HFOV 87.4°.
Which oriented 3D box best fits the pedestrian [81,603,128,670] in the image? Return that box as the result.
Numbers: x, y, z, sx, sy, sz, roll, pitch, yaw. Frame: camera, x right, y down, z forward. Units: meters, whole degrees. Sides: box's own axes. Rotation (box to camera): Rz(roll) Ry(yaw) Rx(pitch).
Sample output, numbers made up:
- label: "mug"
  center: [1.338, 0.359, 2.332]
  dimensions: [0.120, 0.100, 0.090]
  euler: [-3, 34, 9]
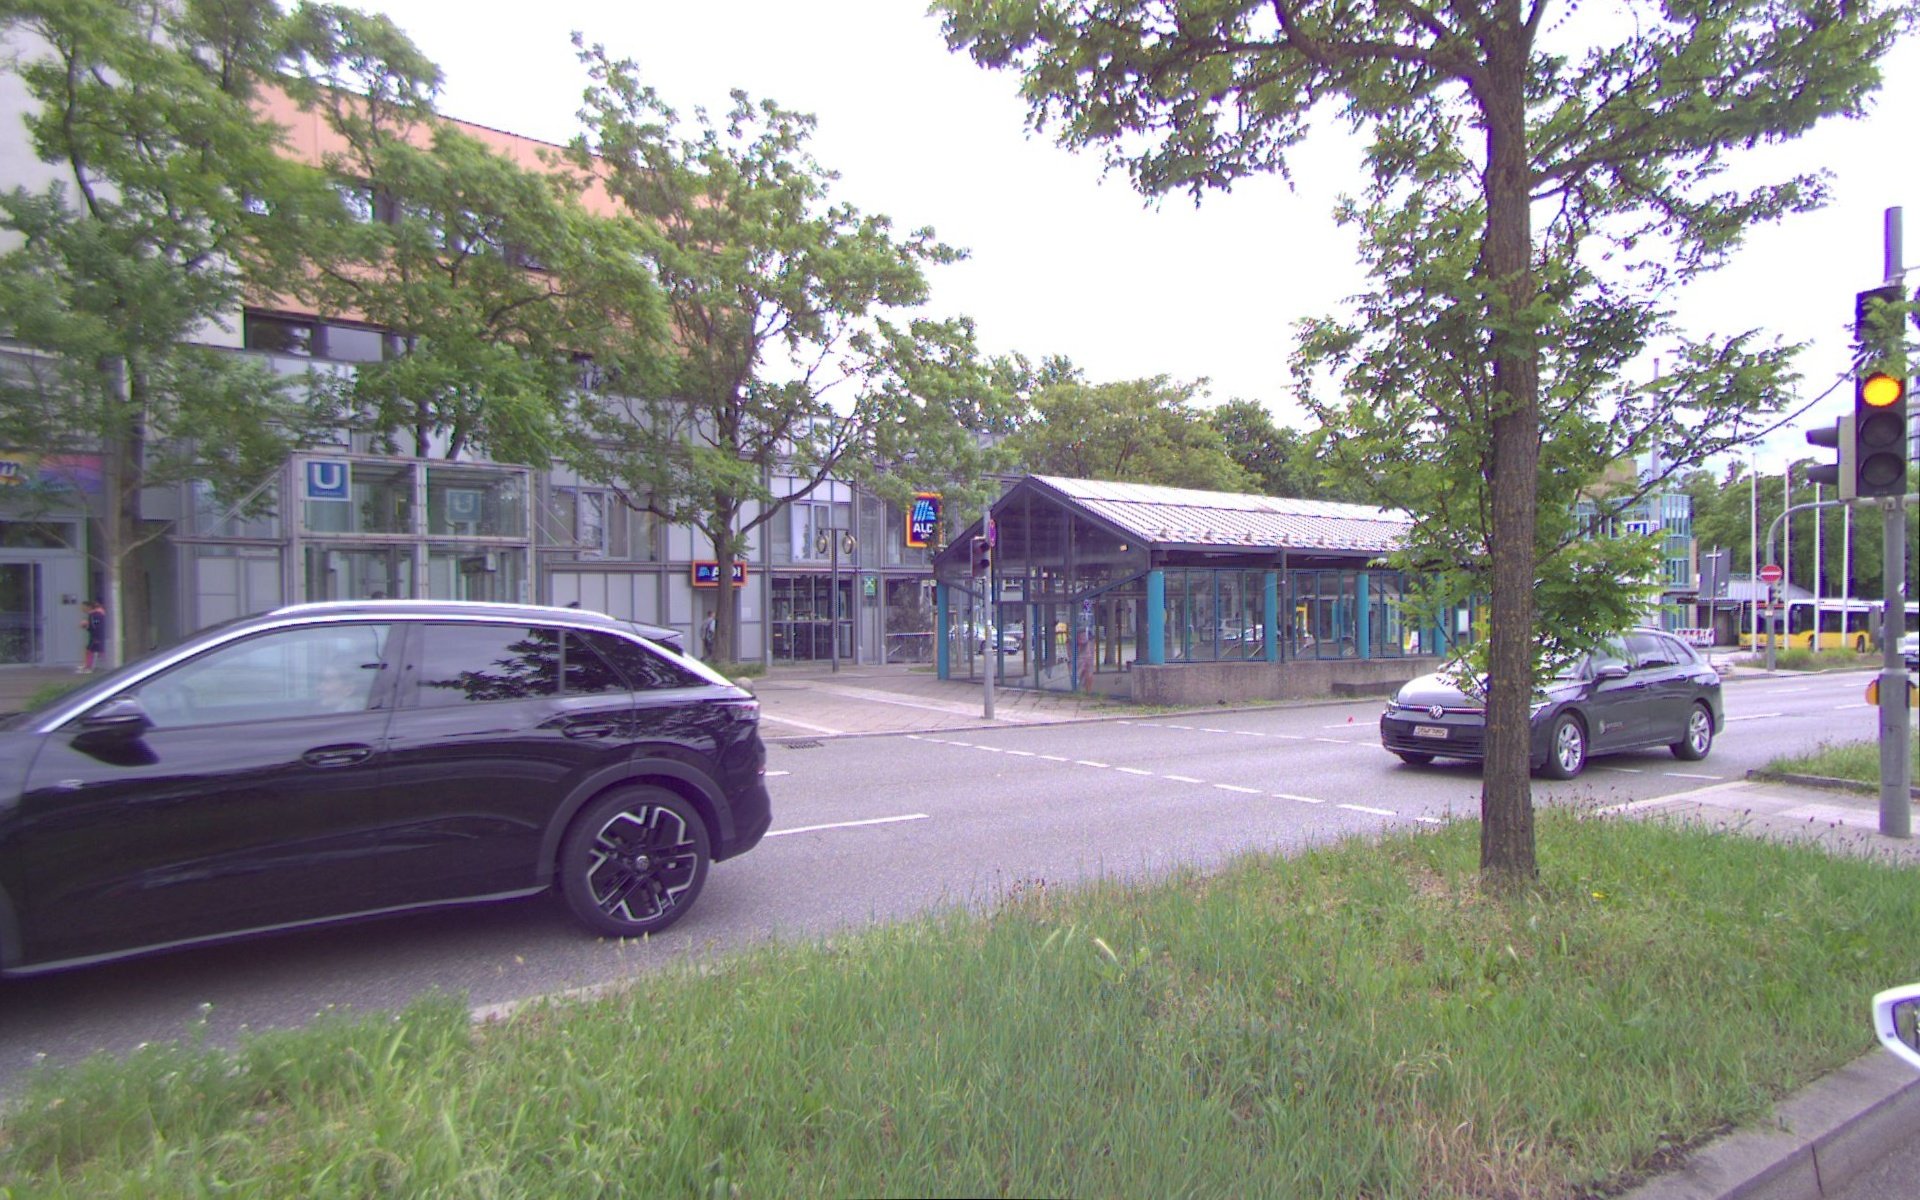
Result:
- label: "pedestrian"
  center: [-18.241, 0.780, 21.421]
  dimensions: [0.689, 1.393, 0.578]
  euler: [1, -1, -37]

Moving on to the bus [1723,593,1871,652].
- label: "bus"
  center: [49.936, 1.374, 59.835]
  dimensions: [10.036, 3.293, 2.980]
  euler: [1, -1, -26]

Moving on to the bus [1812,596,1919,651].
- label: "bus"
  center: [57.934, 1.536, 63.775]
  dimensions: [7.771, 3.313, 2.980]
  euler: [1, -1, -26]

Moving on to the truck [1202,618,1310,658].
- label: "truck"
  center: [12.093, 1.515, 41.077]
  dimensions: [3.927, 1.537, 1.997]
  euler: [0, -1, 28]

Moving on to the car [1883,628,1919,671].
- label: "car"
  center: [37.561, 1.910, 39.175]
  dimensions: [3.316, 1.599, 1.673]
  euler: [1, -1, -36]

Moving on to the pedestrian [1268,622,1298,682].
- label: "pedestrian"
  center: [9.760, 1.558, 30.367]
  dimensions: [0.748, 1.786, 0.526]
  euler: [1, -1, -33]

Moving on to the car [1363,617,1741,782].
- label: "car"
  center: [6.529, 0.991, 10.977]
  dimensions: [4.239, 1.500, 1.701]
  euler: [1, -5, -31]

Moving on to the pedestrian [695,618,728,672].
- label: "pedestrian"
  center: [-6.955, 1.257, 28.141]
  dimensions: [0.748, 1.499, 0.525]
  euler: [1, -1, -36]

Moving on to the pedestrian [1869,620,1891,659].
- label: "pedestrian"
  center: [46.158, 1.985, 50.405]
  dimensions: [0.677, 1.922, 0.658]
  euler: [1, -1, -30]

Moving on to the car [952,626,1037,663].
- label: "car"
  center: [1.663, 2.188, 50.390]
  dimensions: [1.769, 1.710, 4.838]
  euler: [1, -1, -33]

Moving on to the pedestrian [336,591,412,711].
- label: "pedestrian"
  center: [-9.333, 0.796, 16.012]
  dimensions: [0.530, 1.857, 0.916]
  euler: [0, -1, 44]

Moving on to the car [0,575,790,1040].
- label: "car"
  center: [-3.019, 0.781, 4.624]
  dimensions: [4.034, 1.540, 1.823]
  euler: [2, -6, -37]

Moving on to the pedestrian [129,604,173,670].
- label: "pedestrian"
  center: [-17.544, 0.803, 21.787]
  dimensions: [0.689, 1.393, 0.578]
  euler: [1, -1, -37]

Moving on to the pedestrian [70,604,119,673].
- label: "pedestrian"
  center: [-17.867, 0.790, 20.745]
  dimensions: [0.689, 1.393, 0.578]
  euler: [1, -1, -37]
